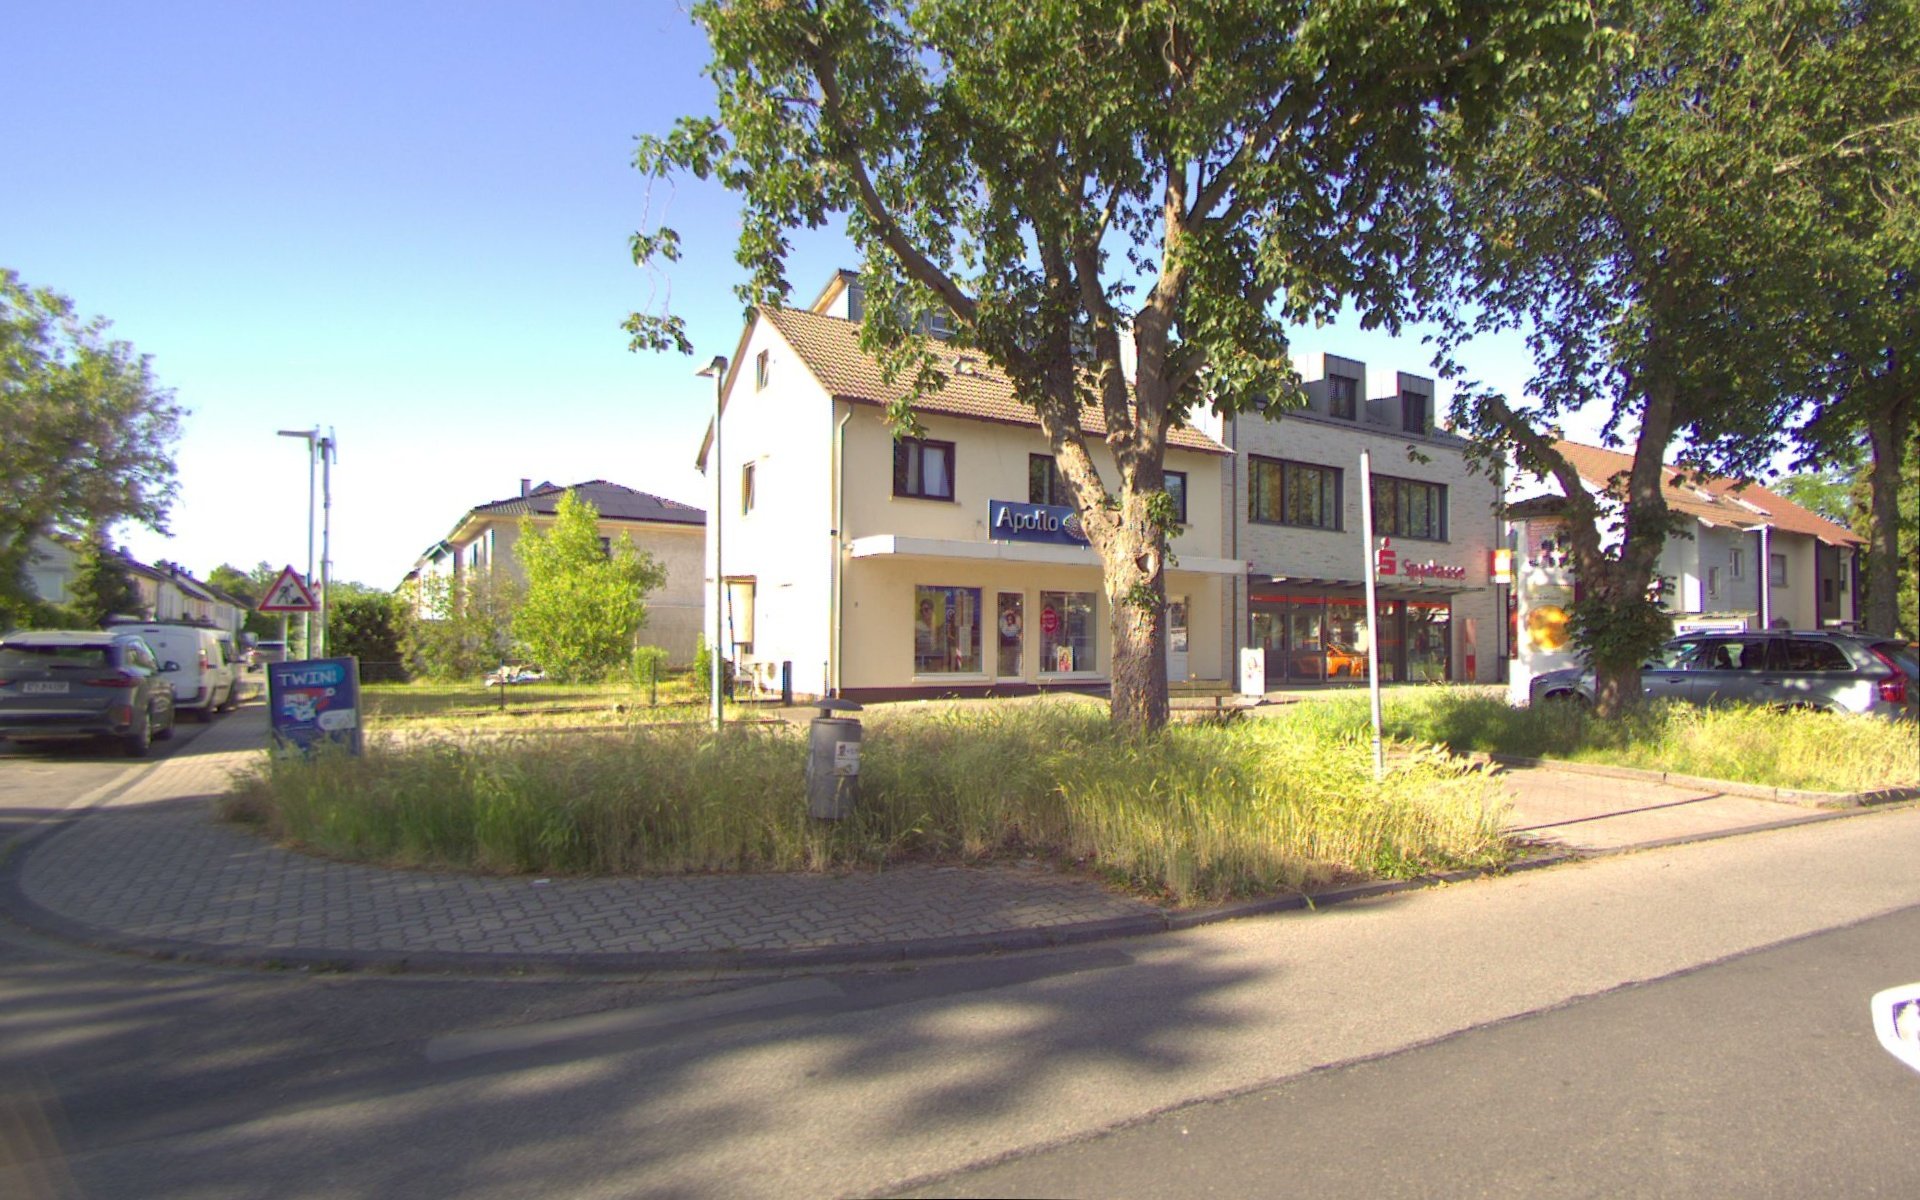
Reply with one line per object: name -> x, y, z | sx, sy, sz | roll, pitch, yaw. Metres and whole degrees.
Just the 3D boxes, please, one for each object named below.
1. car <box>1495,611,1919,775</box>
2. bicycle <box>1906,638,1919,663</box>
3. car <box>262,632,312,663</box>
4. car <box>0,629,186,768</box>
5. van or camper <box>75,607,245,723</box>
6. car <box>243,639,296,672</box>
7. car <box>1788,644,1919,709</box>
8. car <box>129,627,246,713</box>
car -> 10.804, 1.165, 14.557 | 1.978, 1.751, 5.033 | 2, 0, -32
bicycle -> 47.432, 2.474, 49.799 | 0.696, 1.192, 4.031 | -2, -3, 44
car -> -40.018, 2.796, 59.818 | 1.976, 1.601, 4.872 | 3, -2, -29
car -> -12.150, 1.287, 13.903 | 1.980, 1.659, 3.963 | 2, -4, -34
van or camper -> -15.927, 1.255, 20.260 | 1.977, 2.040, 4.650 | 2, -3, -31
car -> -33.178, 2.636, 48.219 | 1.981, 1.504, 4.860 | 2, -3, -36
car -> 25.004, 2.047, 26.933 | 1.851, 1.563, 3.963 | 2, -2, -33
car -> -18.570, 1.625, 24.313 | 1.980, 1.854, 3.961 | 2, -2, -35
